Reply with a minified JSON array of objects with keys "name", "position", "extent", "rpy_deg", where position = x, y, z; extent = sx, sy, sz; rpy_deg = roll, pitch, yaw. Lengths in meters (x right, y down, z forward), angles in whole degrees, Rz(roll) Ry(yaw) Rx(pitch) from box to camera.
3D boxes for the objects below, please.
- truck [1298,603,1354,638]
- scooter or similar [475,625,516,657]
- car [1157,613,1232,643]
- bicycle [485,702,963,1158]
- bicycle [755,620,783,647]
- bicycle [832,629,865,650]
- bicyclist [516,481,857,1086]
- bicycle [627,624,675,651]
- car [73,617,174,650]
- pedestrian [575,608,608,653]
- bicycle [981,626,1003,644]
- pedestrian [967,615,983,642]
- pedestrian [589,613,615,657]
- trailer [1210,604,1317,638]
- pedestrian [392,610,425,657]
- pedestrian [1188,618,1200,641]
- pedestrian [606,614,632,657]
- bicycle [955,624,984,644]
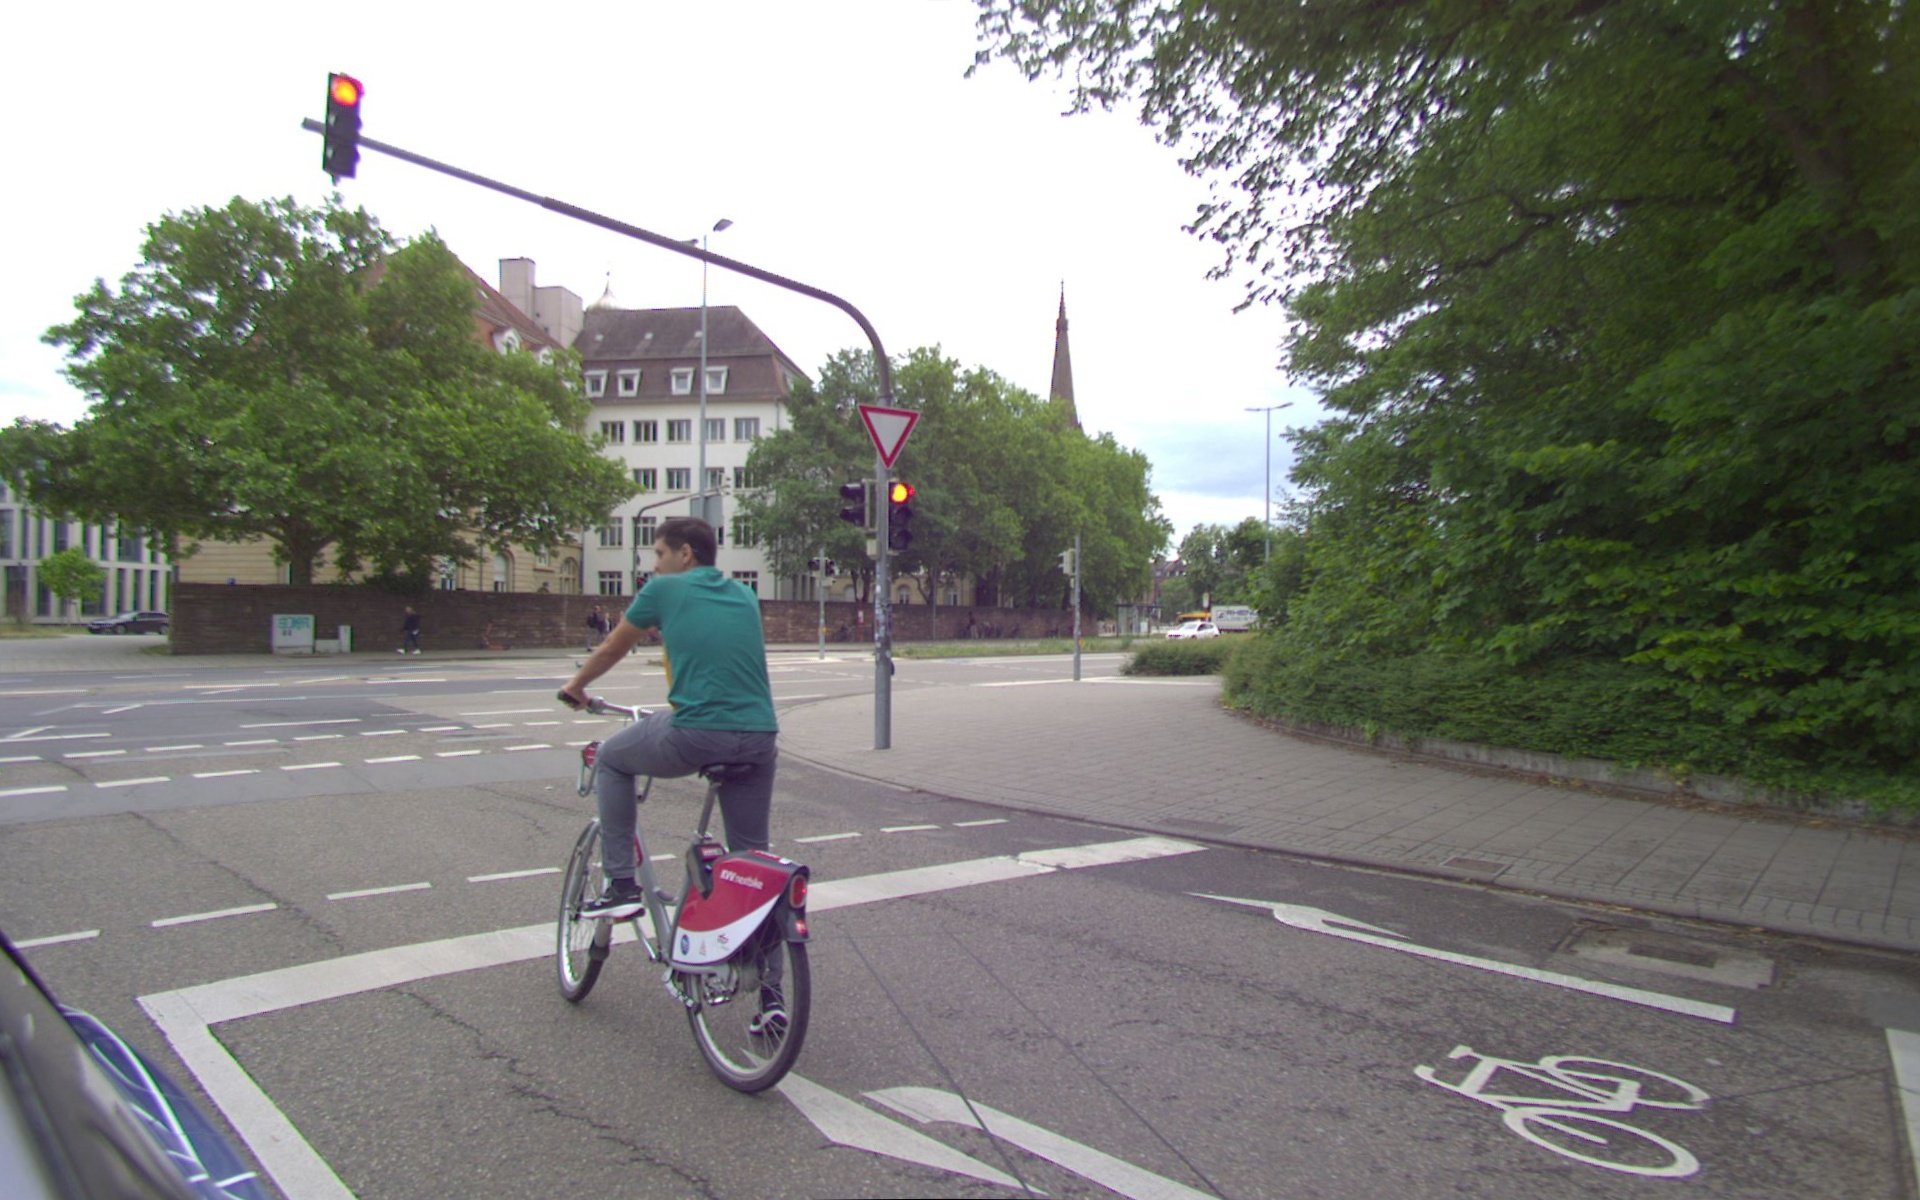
[{"name":"truck","position":[42.136,2.369,116.545],"extent":[5.449,3.852,2.805],"rpy_deg":[-1,-1,42]},{"name":"scooter or similar","position":[-18.336,1.611,39.955],"extent":[1.389,1.239,0.497],"rpy_deg":[2,-1,-29]},{"name":"car","position":[14.638,1.752,62.981],"extent":[5.294,1.710,2.049],"rpy_deg":[0,-3,-45]},{"name":"bicycle","position":[-0.901,0.943,3.502],"extent":[1.857,1.045,0.650],"rpy_deg":[-1,-3,42]},{"name":"bicycle","position":[-9.862,1.719,52.250],"extent":[0.661,1.391,2.579],"rpy_deg":[0,-2,7]},{"name":"bicycle","position":[-6.202,2.201,56.393],"extent":[0.663,1.157,2.133],"rpy_deg":[1,-1,31]},{"name":"bicyclist","position":[-0.961,0.552,3.570],"extent":[0.981,1.793,0.651],"rpy_deg":[-1,-2,35]},{"name":"bicycle","position":[-13.858,1.675,45.479],"extent":[0.581,1.194,2.131],"rpy_deg":[1,-1,33]},{"name":"car","position":[-50.199,1.989,60.885],"extent":[1.978,1.593,4.392],"rpy_deg":[-10,-2,8]},{"name":"pedestrian","position":[-15.086,1.257,41.470],"extent":[0.757,1.802,0.993],"rpy_deg":[1,-1,41]},{"name":"bicycle","position":[2.245,2.437,70.381],"extent":[0.506,1.157,2.226],"rpy_deg":[1,-1,29]},{"name":"pedestrian","position":[0.996,1.871,66.470],"extent":[0.788,1.773,0.765],"rpy_deg":[0,-2,30]},{"name":"pedestrian","position":[-14.426,1.406,40.743],"extent":[0.735,1.752,0.662],"rpy_deg":[0,-1,39]},{"name":"trailer","position":[36.351,2.522,121.725],"extent":[12.371,3.852,2.805],"rpy_deg":[-1,-1,42]},{"name":"pedestrian","position":[-19.854,1.196,36.452],"extent":[0.791,1.677,0.798],"rpy_deg":[0,-2,42]},{"name":"pedestrian","position":[17.946,2.260,77.654],"extent":[0.642,1.719,0.698],"rpy_deg":[-1,-3,42]},{"name":"pedestrian","position":[-13.888,1.440,41.221],"extent":[0.779,1.706,0.634],"rpy_deg":[1,-1,39]},{"name":"bicycle","position":[0.639,2.239,66.910],"extent":[0.663,1.275,2.515],"rpy_deg":[1,-1,31]}]
